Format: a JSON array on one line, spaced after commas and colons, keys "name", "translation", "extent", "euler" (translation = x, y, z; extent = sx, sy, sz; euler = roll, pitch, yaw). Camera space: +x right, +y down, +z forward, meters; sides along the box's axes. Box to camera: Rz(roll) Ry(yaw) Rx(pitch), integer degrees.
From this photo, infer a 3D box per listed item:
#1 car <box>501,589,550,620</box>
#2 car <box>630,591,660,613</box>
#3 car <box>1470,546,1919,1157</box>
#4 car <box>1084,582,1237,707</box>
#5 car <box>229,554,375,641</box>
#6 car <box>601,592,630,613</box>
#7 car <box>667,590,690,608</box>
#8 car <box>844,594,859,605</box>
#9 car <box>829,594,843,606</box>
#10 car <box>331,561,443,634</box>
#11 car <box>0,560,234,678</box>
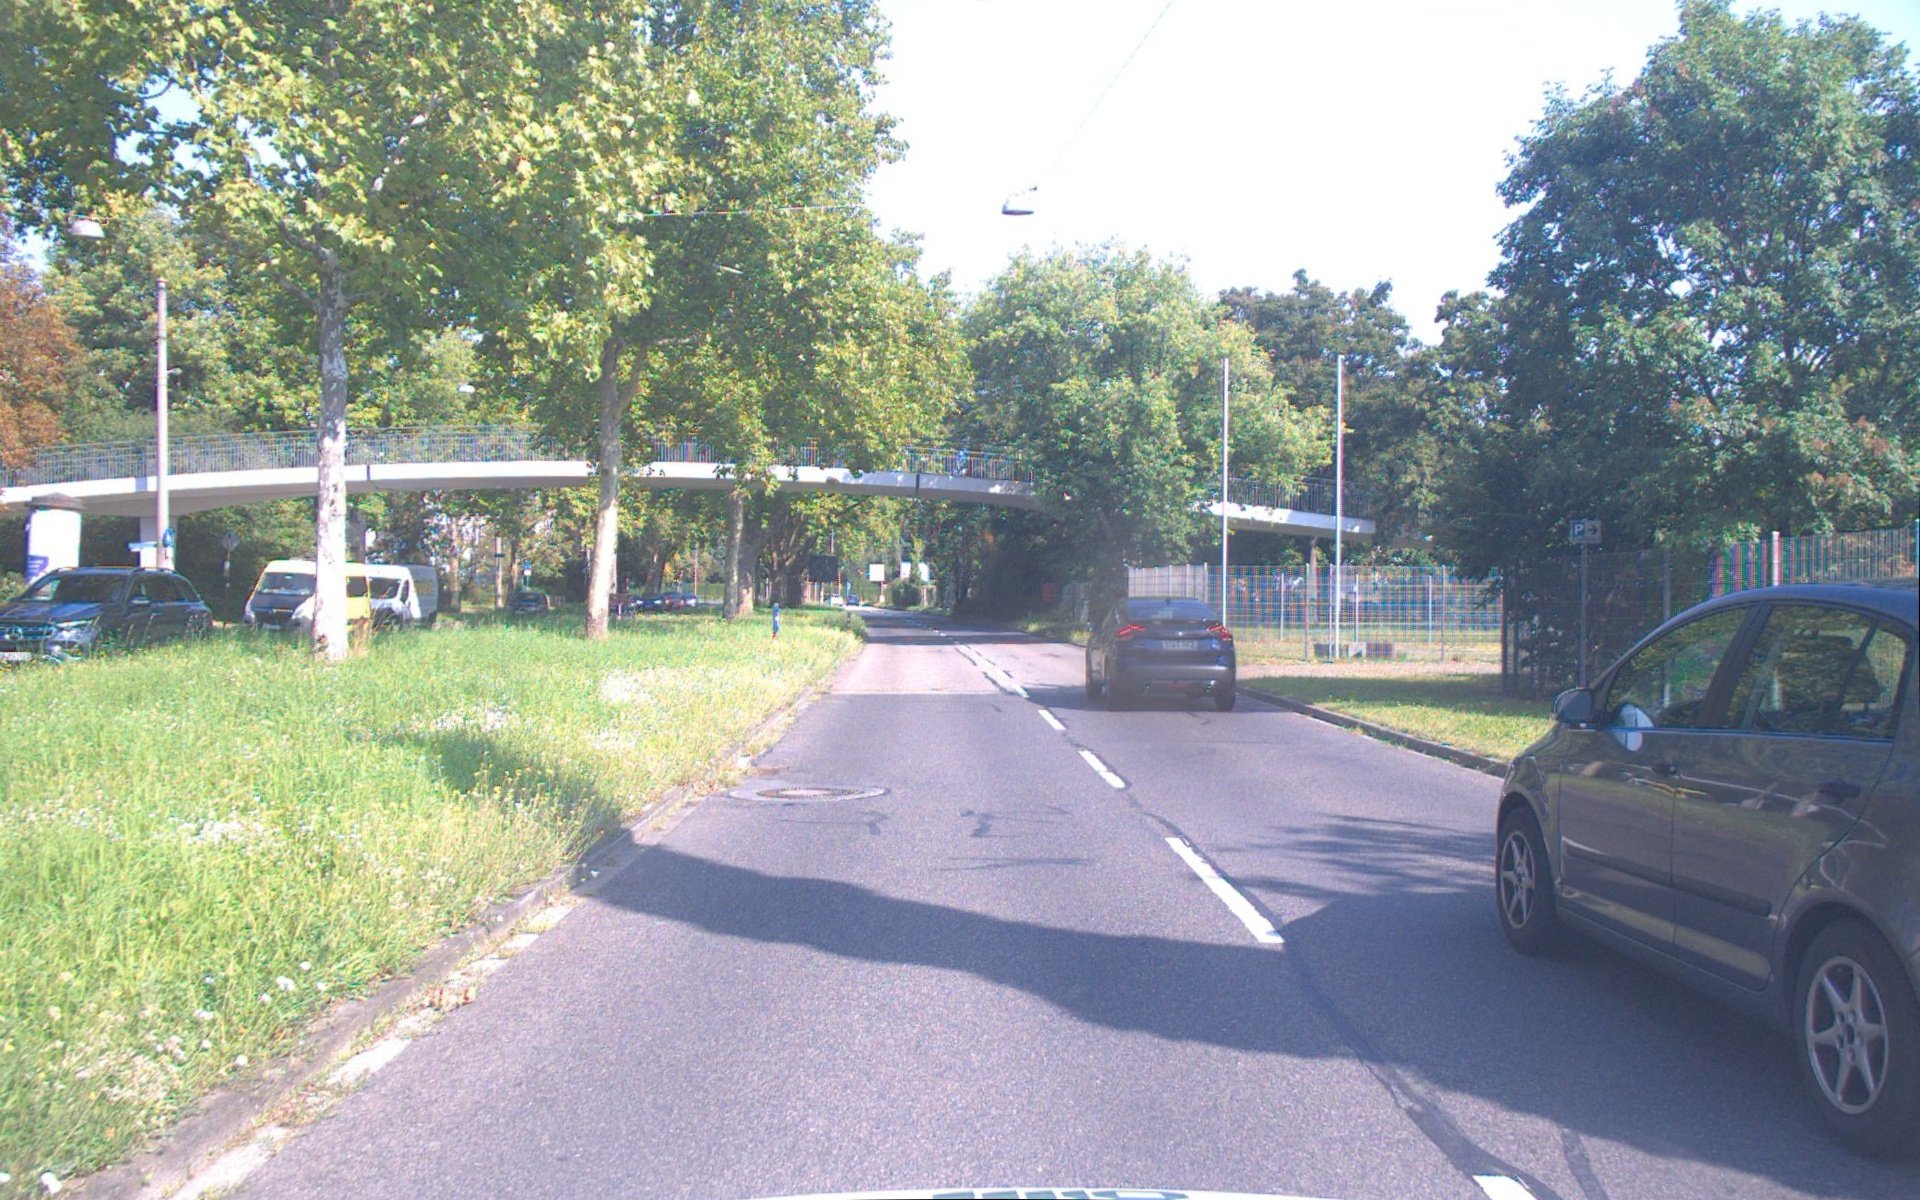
[{"name": "car", "translation": [-22.610, 0.234, 86.119], "extent": [1.491, 1.560, 3.864], "euler": [0, 0, 1]}, {"name": "car", "translation": [-23.151, 0.184, 121.755], "extent": [1.753, 1.560, 4.450], "euler": [1, 0, -6]}, {"name": "car", "translation": [3.247, 0.668, 5.746], "extent": [1.612, 1.584, 3.897], "euler": [1, 0, -2]}, {"name": "car", "translation": [2.788, 0.589, 23.854], "extent": [1.612, 1.616, 4.254], "euler": [1, 0, -1]}, {"name": "car", "translation": [-20.366, -0.056, 51.543], "extent": [2.163, 2.523, 6.059], "euler": [1, 0, -1]}, {"name": "car", "translation": [-25.433, 0.181, 122.177], "extent": [1.508, 1.477, 4.060], "euler": [1, 0, -4]}, {"name": "car", "translation": [-24.634, -0.080, 144.750], "extent": [1.658, 1.560, 4.065], "euler": [0, 0, -6]}, {"name": "car", "translation": [-14.874, -0.026, 226.412], "extent": [1.763, 1.426, 3.994], "euler": [1, 0, -7]}, {"name": "car", "translation": [-15.967, 0.021, 213.285], "extent": [1.654, 1.487, 3.995], "euler": [1, 0, -5]}, {"name": "car", "translation": [-20.759, -0.077, 60.239], "extent": [2.164, 2.472, 6.261], "euler": [1, 0, -3]}, {"name": "car", "translation": [-13.241, 0.271, 25.781], "extent": [1.739, 1.645, 4.855], "euler": [1, 0, -1]}]
